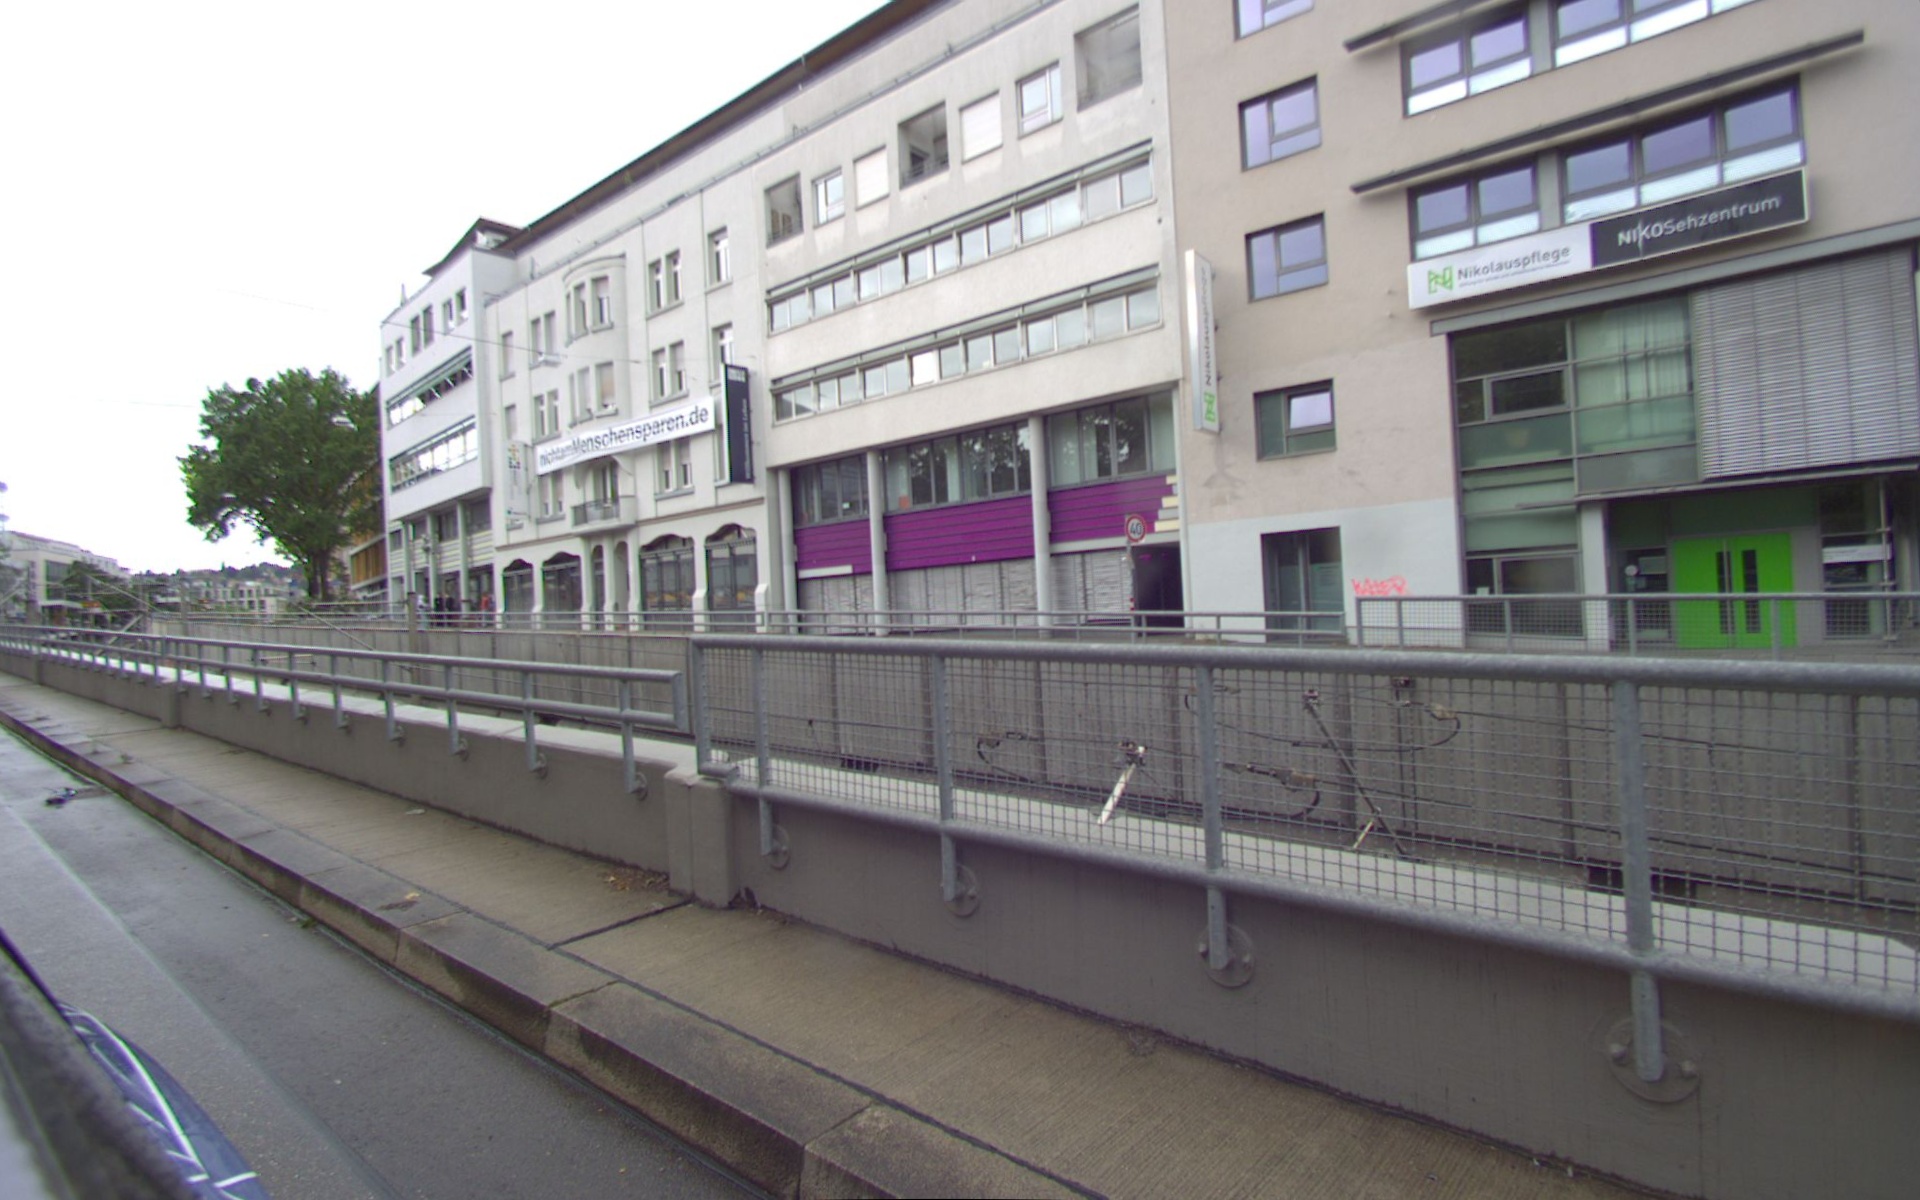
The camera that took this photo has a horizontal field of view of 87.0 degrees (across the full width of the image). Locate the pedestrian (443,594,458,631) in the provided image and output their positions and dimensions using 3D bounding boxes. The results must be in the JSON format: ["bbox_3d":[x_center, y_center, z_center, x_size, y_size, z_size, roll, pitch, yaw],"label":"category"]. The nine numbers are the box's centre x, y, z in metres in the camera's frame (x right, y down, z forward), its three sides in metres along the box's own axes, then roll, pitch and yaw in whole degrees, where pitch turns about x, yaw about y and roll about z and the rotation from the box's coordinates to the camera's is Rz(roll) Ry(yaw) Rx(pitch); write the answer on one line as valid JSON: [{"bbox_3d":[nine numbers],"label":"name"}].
[{"bbox_3d":[-25.416,0.626,50.478,0.547,1.816,0.463,-2,1,44],"label":"pedestrian"}]

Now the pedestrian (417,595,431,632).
[{"bbox_3d":[-26.796,0.671,50.572,0.463,1.816,0.548,-3,1,-42],"label":"pedestrian"}]

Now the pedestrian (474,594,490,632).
[{"bbox_3d":[-23.025,0.628,48.756,0.547,1.816,0.464,-1,1,40],"label":"pedestrian"}]

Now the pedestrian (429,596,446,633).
[{"bbox_3d":[-26.431,0.726,51.226,0.469,1.816,0.541,-2,1,33],"label":"pedestrian"}]
